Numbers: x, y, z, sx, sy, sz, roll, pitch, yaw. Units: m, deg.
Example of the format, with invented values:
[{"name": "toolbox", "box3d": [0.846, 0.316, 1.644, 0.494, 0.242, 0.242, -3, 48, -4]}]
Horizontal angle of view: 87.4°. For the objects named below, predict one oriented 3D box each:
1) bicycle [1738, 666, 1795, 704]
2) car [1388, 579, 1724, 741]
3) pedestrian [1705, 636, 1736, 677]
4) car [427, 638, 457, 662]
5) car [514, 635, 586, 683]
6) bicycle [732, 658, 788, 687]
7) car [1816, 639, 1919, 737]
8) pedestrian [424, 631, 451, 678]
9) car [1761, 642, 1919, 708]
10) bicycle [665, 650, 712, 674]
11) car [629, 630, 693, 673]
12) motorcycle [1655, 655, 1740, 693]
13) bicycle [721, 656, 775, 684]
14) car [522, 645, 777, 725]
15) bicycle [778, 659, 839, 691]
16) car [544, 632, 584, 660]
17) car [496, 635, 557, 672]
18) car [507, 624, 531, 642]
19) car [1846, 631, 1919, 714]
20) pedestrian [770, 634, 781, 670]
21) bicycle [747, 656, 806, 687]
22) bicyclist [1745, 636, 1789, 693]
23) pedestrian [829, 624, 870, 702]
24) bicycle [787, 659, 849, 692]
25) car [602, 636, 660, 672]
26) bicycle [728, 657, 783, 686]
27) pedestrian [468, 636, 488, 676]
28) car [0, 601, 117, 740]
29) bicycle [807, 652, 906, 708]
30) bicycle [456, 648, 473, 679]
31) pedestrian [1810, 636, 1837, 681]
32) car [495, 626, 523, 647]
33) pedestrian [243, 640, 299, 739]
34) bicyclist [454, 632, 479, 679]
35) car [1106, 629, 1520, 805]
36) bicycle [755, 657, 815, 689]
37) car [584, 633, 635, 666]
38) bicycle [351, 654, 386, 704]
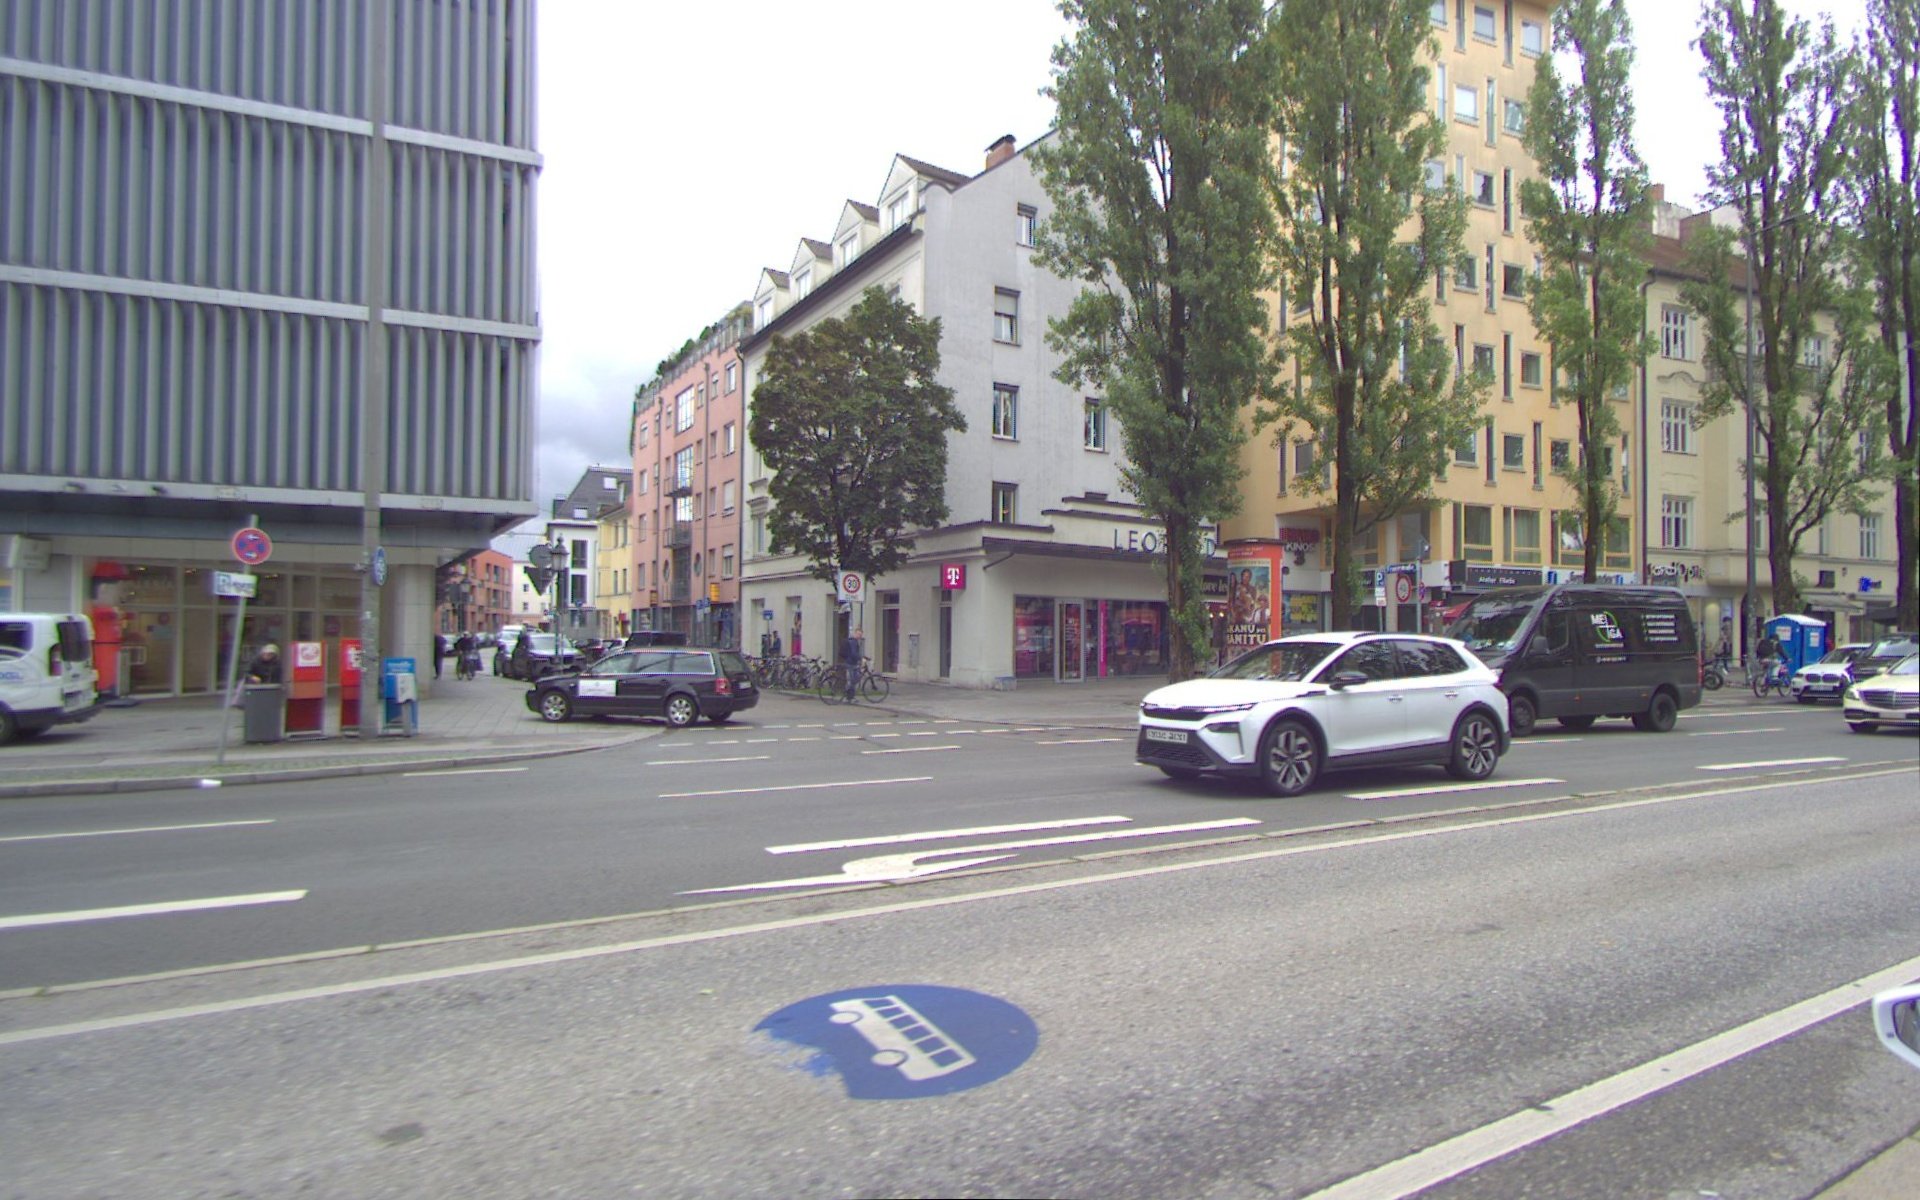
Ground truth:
[{"name": "bicycle", "box3d": [22.715, 2.374, 28.285, 1.742, 1.020, 0.508, 1, -2, -23]}, {"name": "car", "box3d": [10.996, 1.068, 18.511, 5.976, 2.639, 2.166, 1, -2, -22]}, {"name": "pedestrian", "box3d": [29.570, 2.176, 39.061, 0.803, 1.582, 0.633, 1, -2, -21]}, {"name": "car", "box3d": [-38.352, 3.690, 74.307, 1.829, 1.684, 4.205, 1, -2, -29]}, {"name": "car", "box3d": [-15.358, 2.146, 37.486, 1.976, 1.684, 4.205, 1, -2, -29]}, {"name": "bicycle", "box3d": [-6.960, 2.521, 34.995, 1.858, 0.976, 0.456, 1, -2, -30]}, {"name": "car", "box3d": [17.989, 1.527, 18.052, 5.125, 1.609, 1.988, 1, -4, -25]}, {"name": "pedestrian", "box3d": [-19.156, 1.982, 36.854, 0.746, 1.694, 0.709, 2, -2, -38]}, {"name": "car", "box3d": [23.973, 1.963, 26.929, 4.315, 1.650, 1.991, 1, -3, -21]}, {"name": "bicycle", "box3d": [-11.257, 2.559, 41.667, 1.858, 0.976, 0.456, 1, -2, -30]}, {"name": "car", "box3d": [-13.907, 2.350, 46.547, 1.976, 1.888, 4.205, 1, -2, -29]}, {"name": "motorcycle", "box3d": [22.739, 2.261, 31.001, 0.483, 1.050, 2.037, 2, -1, -42]}, {"name": "bicycle", "box3d": [-7.629, 2.521, 36.176, 1.858, 0.976, 0.456, 1, -2, -30]}, {"name": "car", "box3d": [-6.068, 1.615, 19.816, 4.416, 1.458, 1.930, -1, -2, 12]}, {"name": "bicycle", "box3d": [-4.728, 2.342, 31.458, 1.858, 0.976, 0.456, 1, -2, -30]}, {"name": "car", "box3d": [-26.768, 3.099, 67.854, 1.976, 1.843, 4.205, 1, -2, -29]}, {"name": "car", "box3d": [-18.629, 2.256, 43.103, 1.976, 1.525, 4.205, 1, -2, -29]}, {"name": "car", "box3d": [-42.583, 3.192, 96.968, 2.049, 1.729, 4.213, 1, -2, -24]}, {"name": "car", "box3d": [24.277, 1.717, 24.318, 5.630, 1.887, 1.990, 1, -4, -23]}, {"name": "pedestrian", "box3d": [-7.916, 2.218, 43.128, 0.346, 1.533, 0.308, 1, -2, -31]}, {"name": "bicycle", "box3d": [-5.984, 2.327, 32.844, 1.858, 0.976, 0.456, 1, -2, -30]}, {"name": "bicyclist", "box3d": [22.750, 1.806, 28.315, 1.091, 1.601, 0.495, 1, -2, -23]}, {"name": "pedestrian", "box3d": [-2.807, 1.589, 25.449, 0.821, 1.923, 0.855, 1, -2, -24]}, {"name": "bicycle", "box3d": [-4.371, 2.315, 30.971, 1.858, 0.976, 0.456, 1, -2, -30]}, {"name": "car", "box3d": [-16.618, 2.690, 50.656, 1.976, 1.752, 4.205, 1, -2, -29]}, {"name": "bicycle", "box3d": [-7.202, 2.521, 35.455, 1.858, 0.976, 0.456, 1, -2, -30]}, {"name": "pedestrian", "box3d": [-18.454, 2.143, 38.473, 0.607, 1.525, 0.560, 1, -2, -33]}, {"name": "car", "box3d": [-16.026, 1.034, 14.858, 5.046, 2.040, 1.987, 1, -2, -27]}, {"name": "bicycle", "box3d": [-2.527, 1.935, 24.625, 2.274, 1.325, 0.844, 1, -3, -27]}, {"name": "bicycle", "box3d": [-17.991, 2.298, 36.461, 0.349, 1.094, 1.674, 1, -2, -33]}, {"name": "pedestrian", "box3d": [34.277, 2.306, 39.867, 0.744, 1.770, 0.538, 1, -1, -22]}, {"name": "car", "box3d": [-38.516, 3.111, 85.749, 1.974, 1.729, 4.209, 1, -2, -27]}, {"name": "pedestrian", "box3d": [-10.829, 1.382, 15.802, 0.648, 1.514, 0.542, 1, -2, -31]}, {"name": "bicyclist", "box3d": [-17.961, 2.015, 36.520, 0.709, 1.694, 0.746, 1, -2, -33]}, {"name": "car", "box3d": [3.936, 1.161, 11.150, 4.298, 1.624, 1.903, 1, -2, -26]}, {"name": "bicycle", "box3d": [-5.597, 2.327, 32.147, 1.858, 0.976, 0.456, 1, -2, -30]}, {"name": "car", "box3d": [-19.382, 2.706, 55.439, 1.976, 1.752, 4.205, 1, -2, -29]}, {"name": "bicycle", "box3d": [-13.923, 1.837, 23.670, 0.549, 1.097, 1.815, 1, -3, -25]}]
